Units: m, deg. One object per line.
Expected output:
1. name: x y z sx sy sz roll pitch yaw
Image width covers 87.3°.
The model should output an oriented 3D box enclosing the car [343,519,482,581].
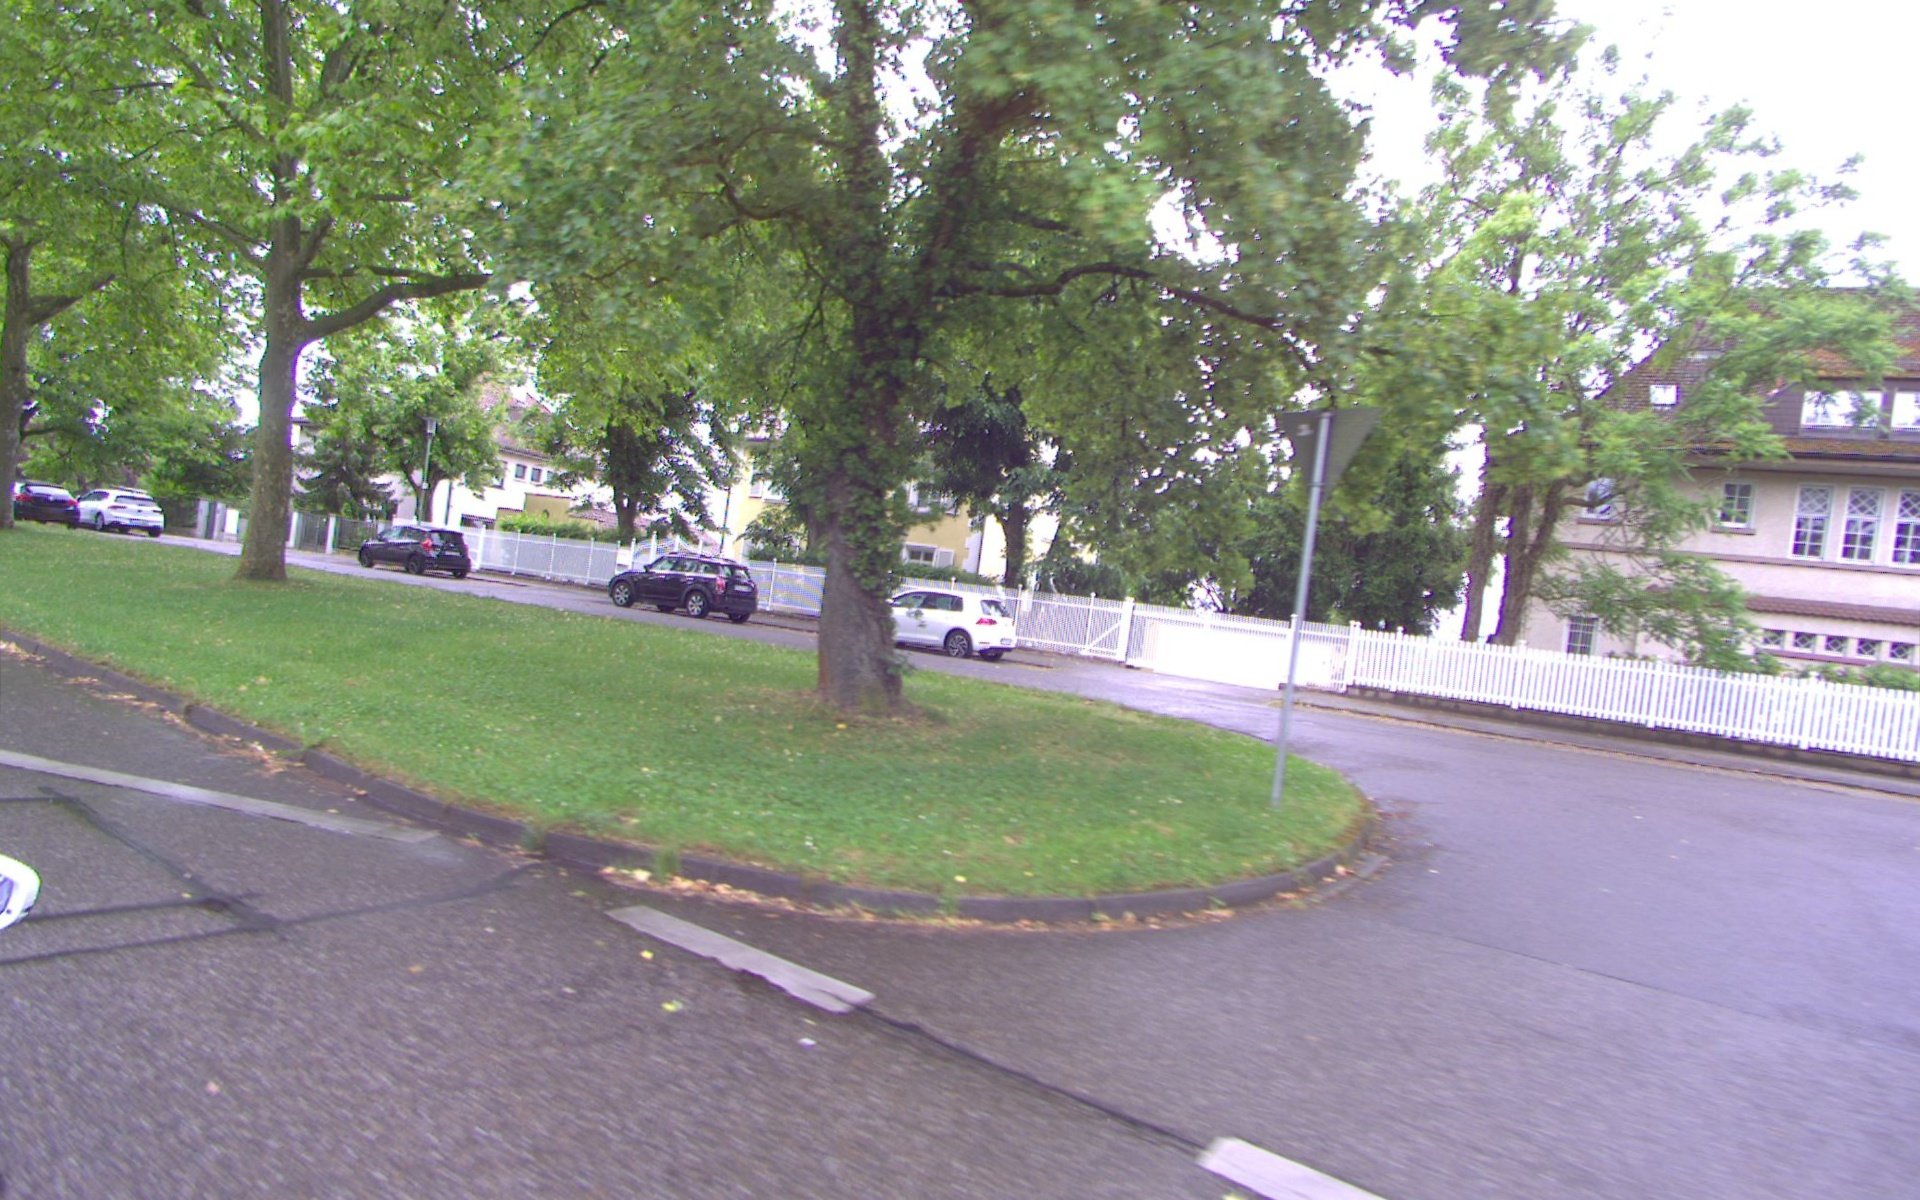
1. car: -17.518 -1.610 32.173 4.282 1.489 1.763 6 0 28

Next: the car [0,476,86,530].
1. car: -31.381 -3.306 33.765 4.522 1.490 1.765 6 1 31

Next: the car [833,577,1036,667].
1. car: -0.597 0.494 22.966 4.053 1.465 1.999 6 -2 28

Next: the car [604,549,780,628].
1. car: -6.992 -0.298 26.230 4.053 1.488 1.999 6 -2 28

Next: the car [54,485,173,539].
1. car: -30.310 -3.148 35.992 4.351 1.489 1.847 6 1 31
